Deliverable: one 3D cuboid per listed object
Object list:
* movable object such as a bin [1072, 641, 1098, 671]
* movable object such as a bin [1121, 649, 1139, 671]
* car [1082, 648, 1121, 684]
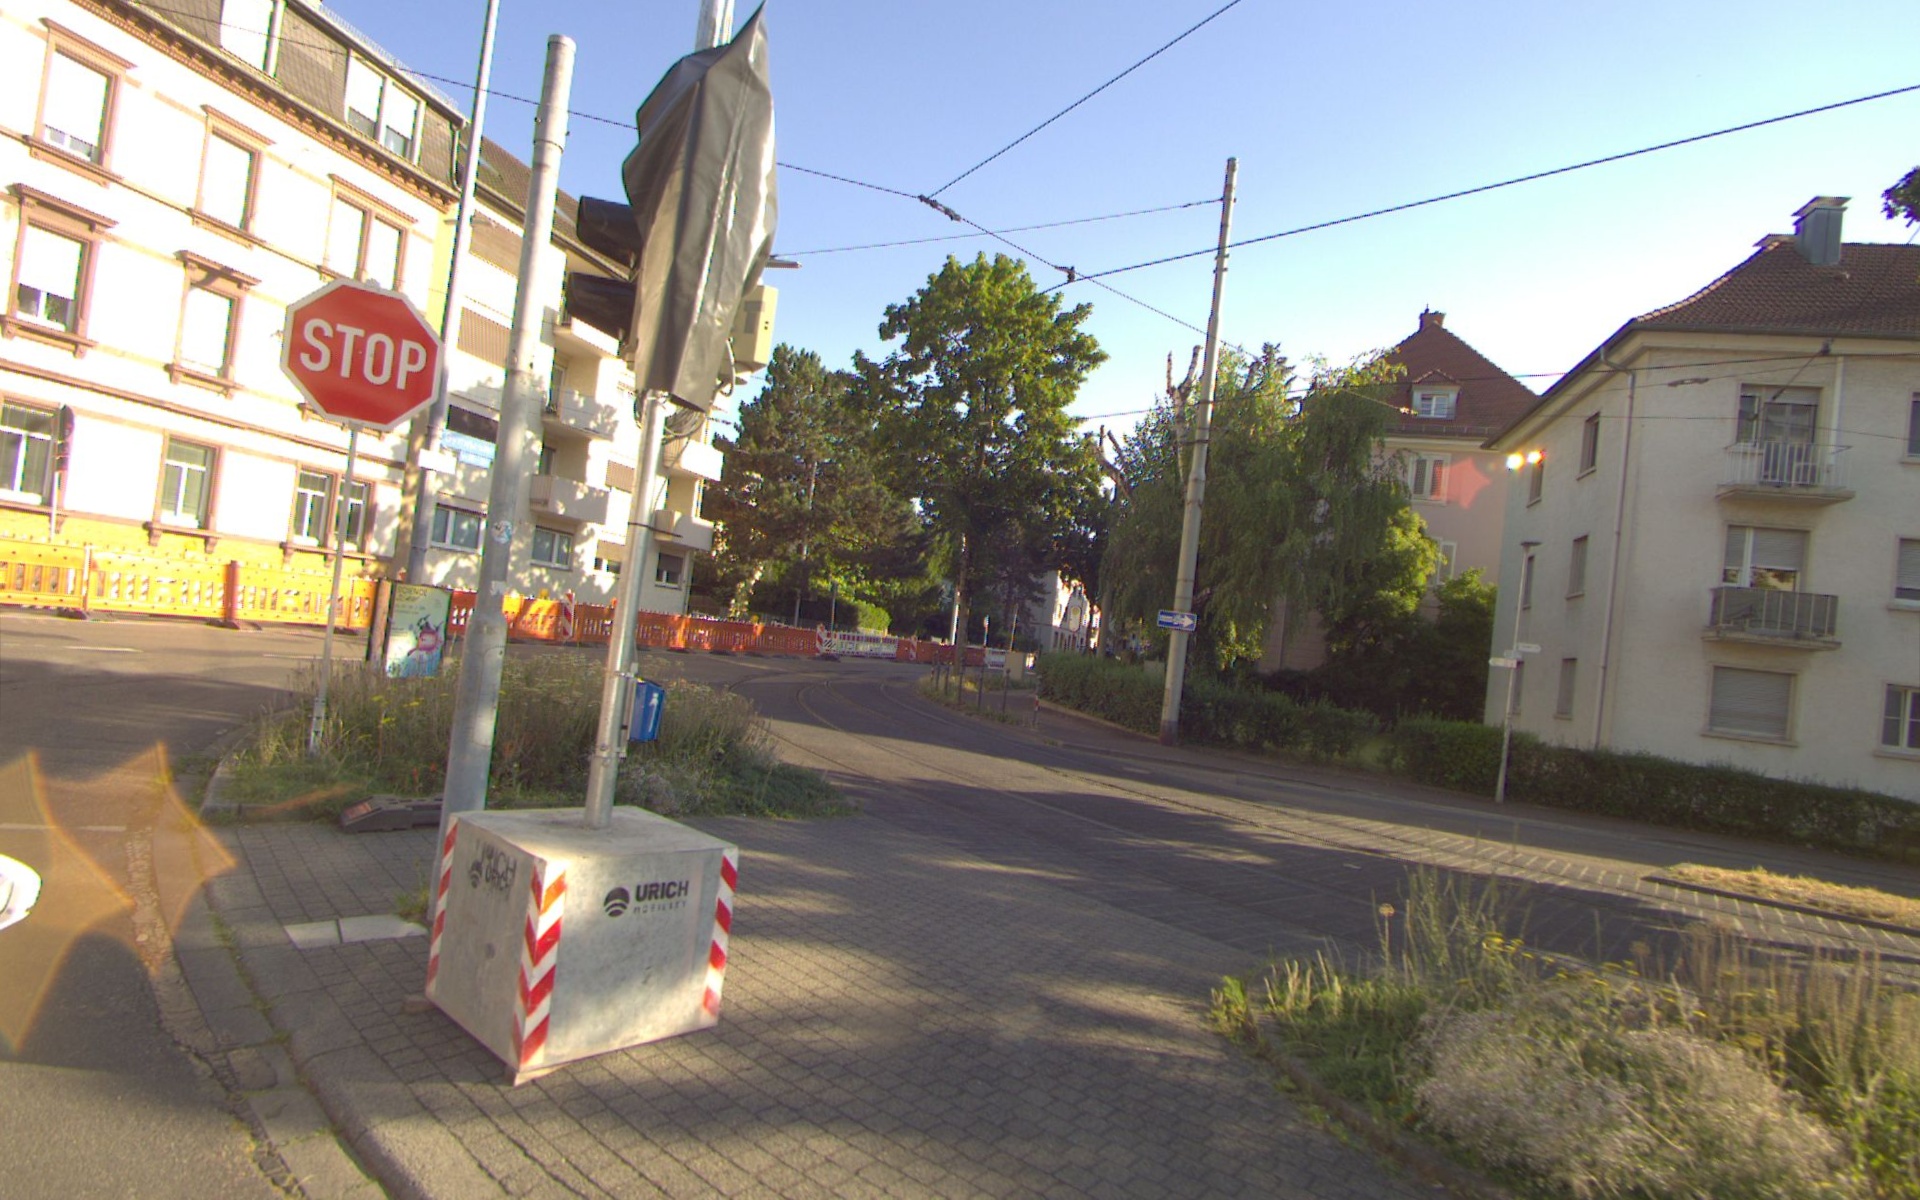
[{"bbox_3d":[13.377,5.954,107.298,2.052,2.932,4.004,7,-1,13],"label":"movable object such as a bin"},{"bbox_3d":[25.302,8.899,149.575,2.052,2.932,4.004,7,-1,13],"label":"movable object such as a bin"},{"bbox_3d":[7.908,3.665,55.968,1.790,1.792,3.942,5,-2,11],"label":"car"}]
